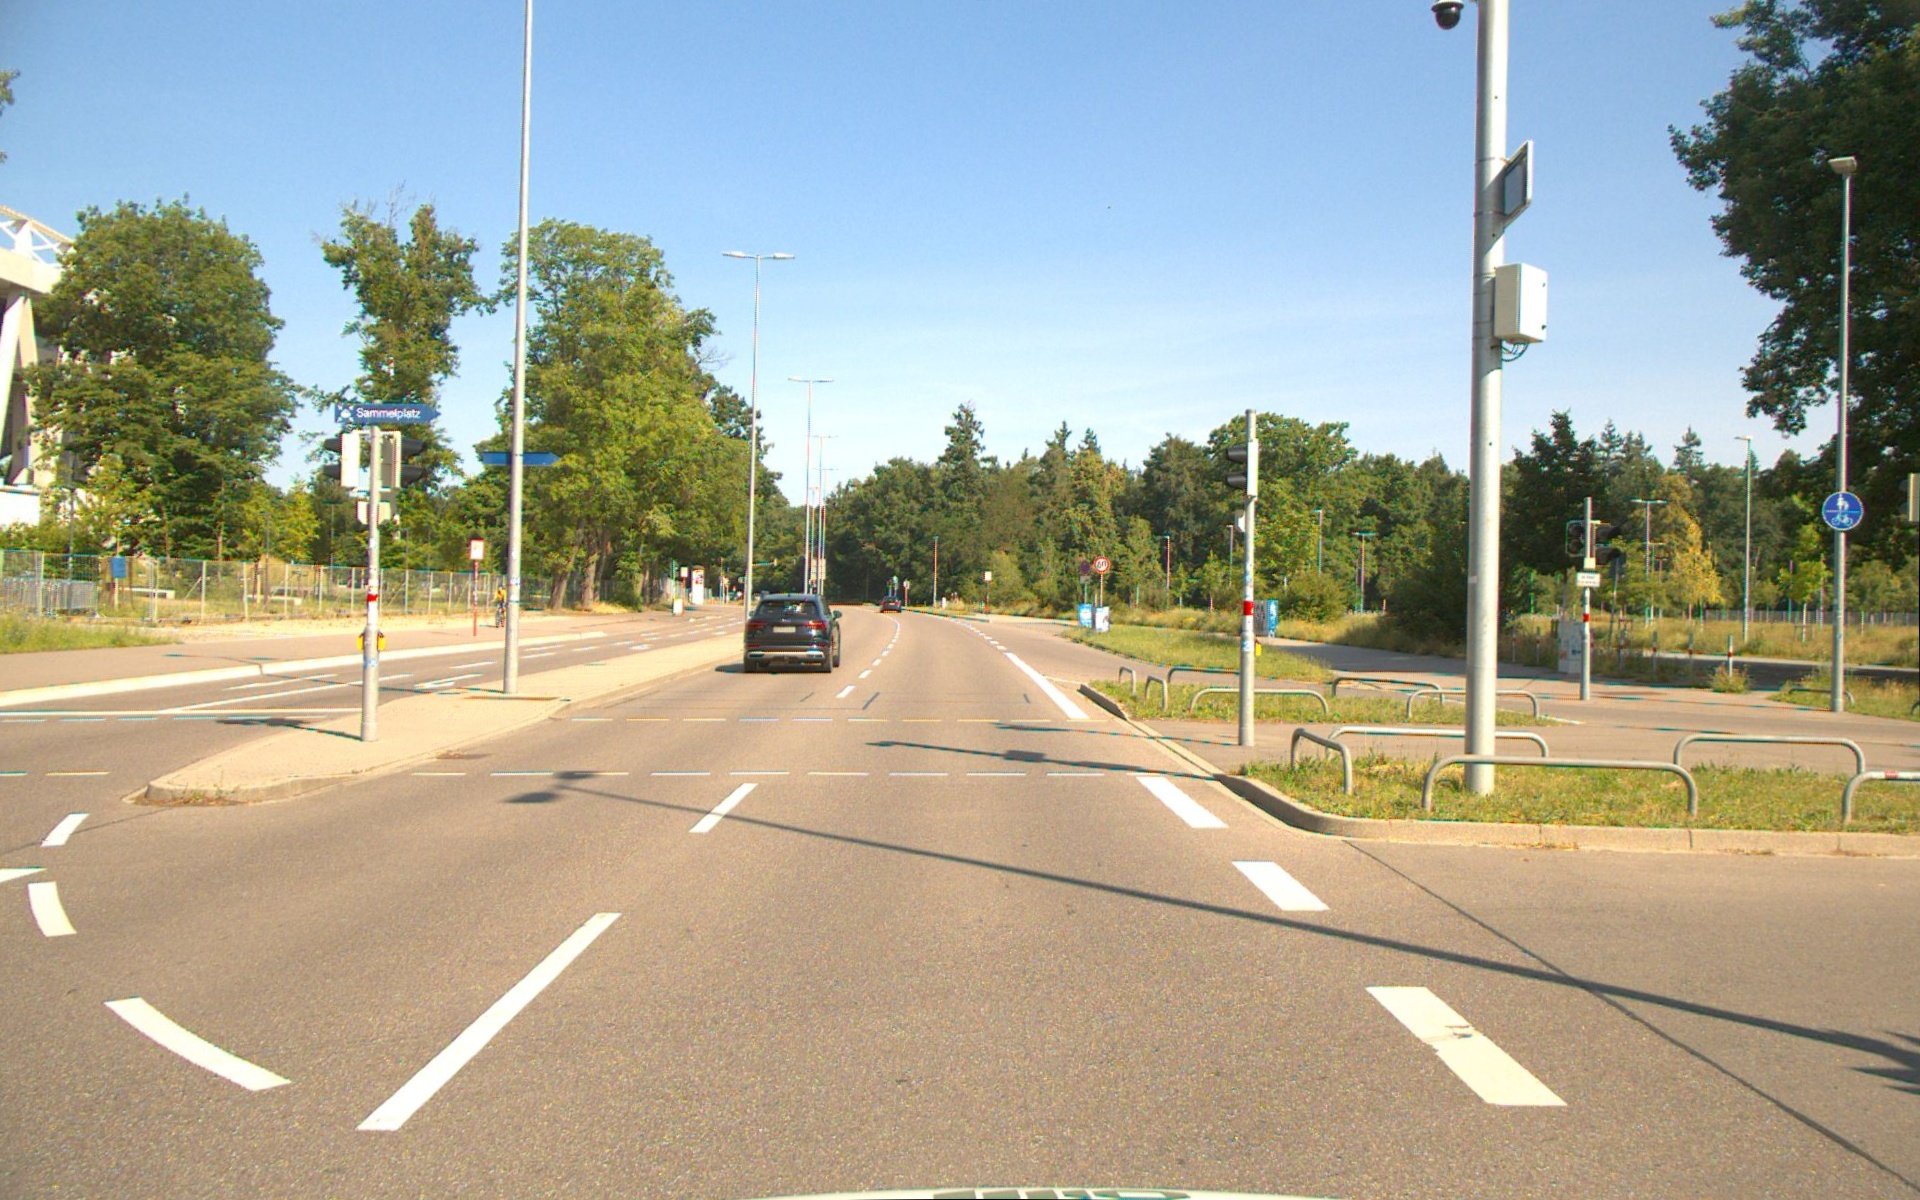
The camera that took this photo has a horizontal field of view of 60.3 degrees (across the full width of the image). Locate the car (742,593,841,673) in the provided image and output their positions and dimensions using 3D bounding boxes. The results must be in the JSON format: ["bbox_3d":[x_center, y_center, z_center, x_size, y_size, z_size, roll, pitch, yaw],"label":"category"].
[{"bbox_3d":[-3.453,0.632,34.492,1.653,1.571,4.148,0,0,0],"label":"car"}]

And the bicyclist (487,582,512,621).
[{"bbox_3d":[-18.327,0.061,65.819,0.646,1.493,1.057,2,0,-2],"label":"bicyclist"}]

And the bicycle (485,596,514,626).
[{"bbox_3d":[-18.356,0.422,65.920,0.646,1.155,1.878,2,0,-2],"label":"bicycle"}]

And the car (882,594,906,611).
[{"bbox_3d":[-5.822,0.243,145.998,1.903,1.445,4.288,1,0,-5],"label":"car"}]
